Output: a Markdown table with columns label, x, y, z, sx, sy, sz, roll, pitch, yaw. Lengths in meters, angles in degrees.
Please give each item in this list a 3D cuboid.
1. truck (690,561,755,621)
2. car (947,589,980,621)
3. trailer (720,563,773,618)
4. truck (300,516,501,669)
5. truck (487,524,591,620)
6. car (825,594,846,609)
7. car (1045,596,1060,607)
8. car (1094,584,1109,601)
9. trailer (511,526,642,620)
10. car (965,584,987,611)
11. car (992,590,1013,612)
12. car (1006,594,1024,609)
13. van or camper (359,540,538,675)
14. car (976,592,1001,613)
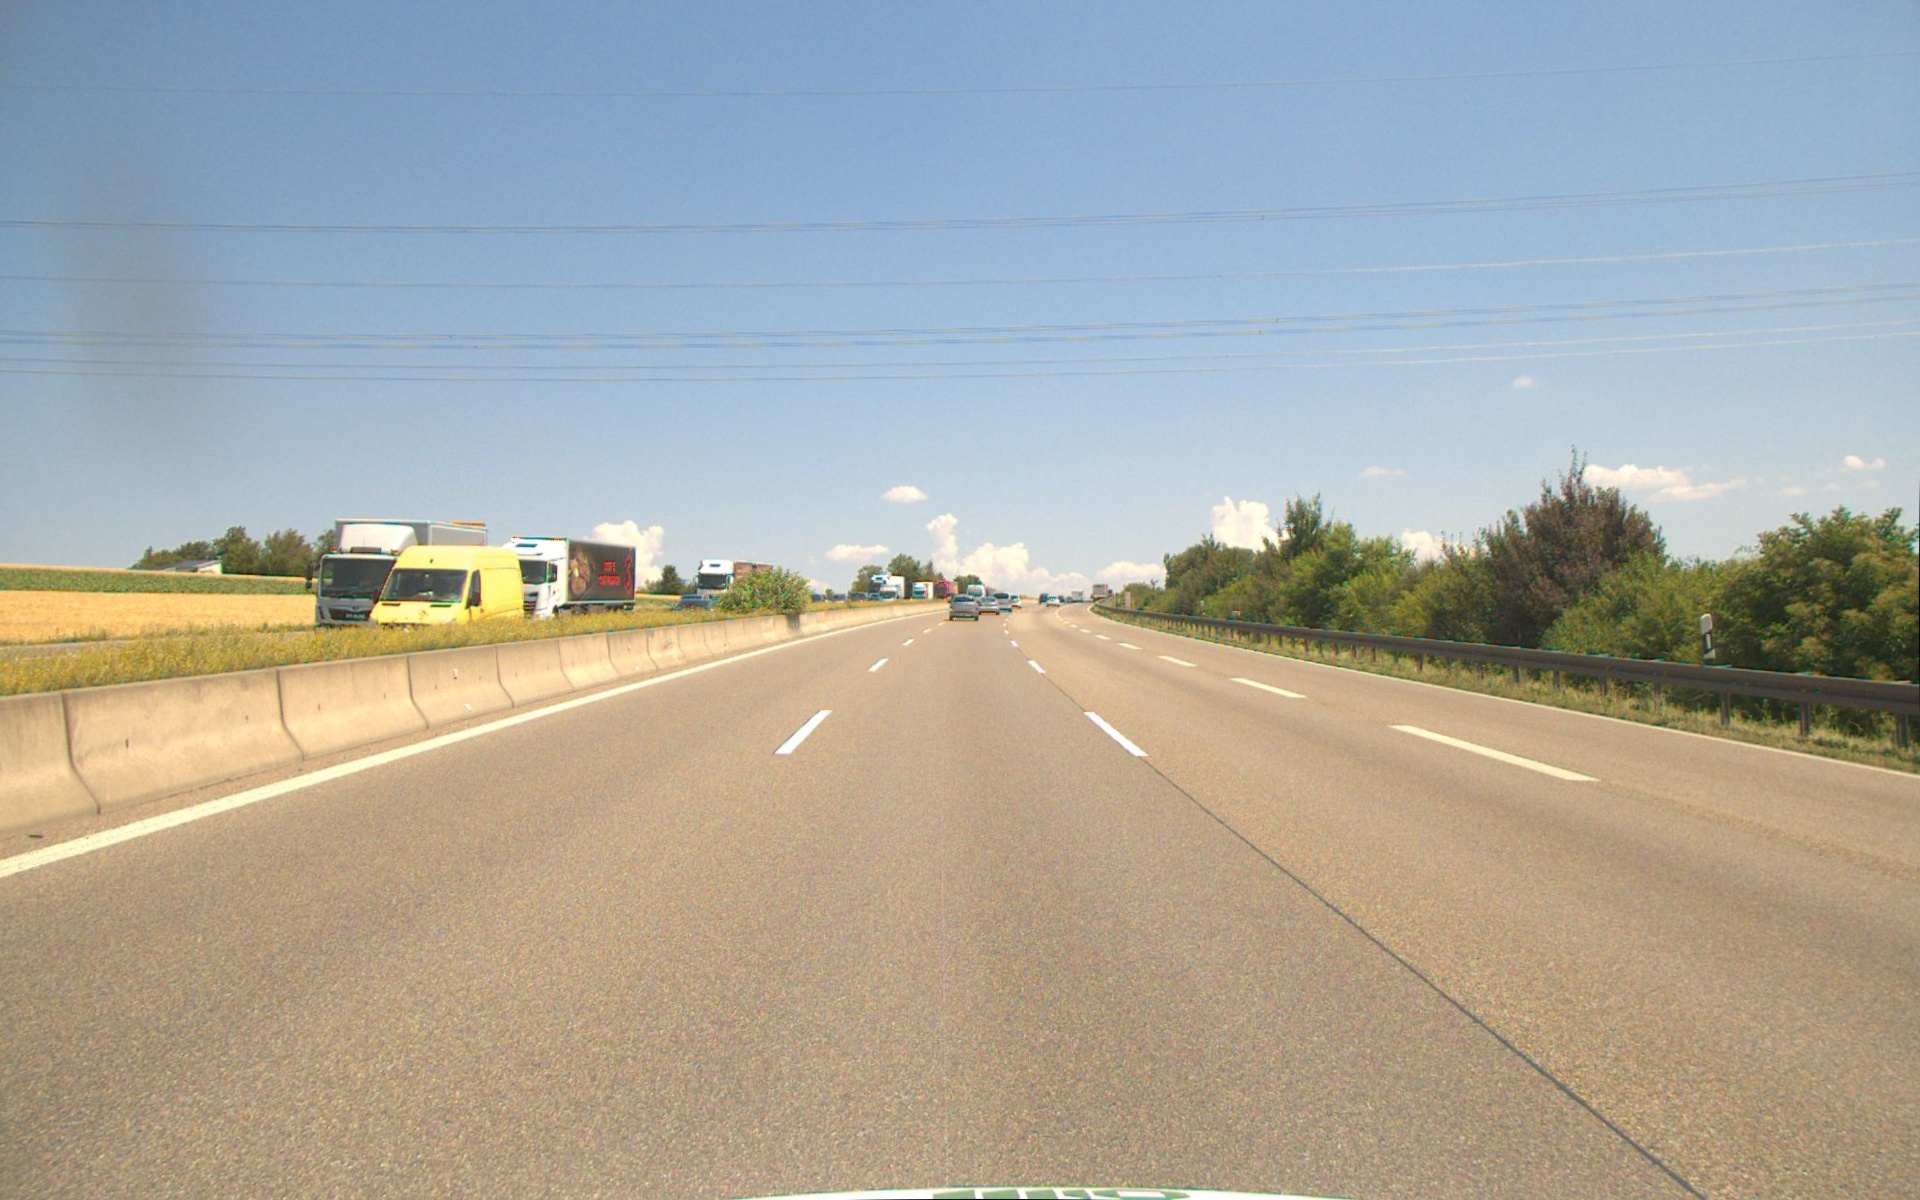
| label | x | y | z | sx | sy | sz | roll | pitch | yaw |
| --- | --- | --- | --- | --- | --- | --- | --- | --- | --- |
| truck | -17.558 | -0.678 | 122.985 | 2.827 | 4.244 | 10.625 | 1 | 0 | 2 |
| car | 0.188 | 0.321 | 103.416 | 1.953 | 1.781 | 3.998 | 1 | -3 | -1 |
| trailer | -17.114 | -0.759 | 133.231 | 2.718 | 4.256 | 9.180 | 1 | 0 | 2 |
| truck | -15.140 | -0.212 | 45.474 | 2.876 | 3.809 | 7.779 | 1 | 0 | 0 |
| truck | -18.857 | -1.197 | 74.548 | 2.793 | 4.098 | 6.516 | 1 | 0 | 2 |
| car | -14.198 | 0.167 | 188.314 | 1.952 | 1.646 | 4.001 | 0 | 0 | 2 |
| car | 12.414 | 0.180 | 220.927 | 1.862 | 1.467 | 4.002 | 1 | 0 | 5 |
| car | 19.109 | -0.999 | 222.894 | 1.951 | 2.341 | 6.267 | 0 | 0 | 5 |
| trailer | -18.612 | -1.200 | 81.409 | 2.735 | 4.177 | 14.010 | 1 | 0 | 2 |
| car | 1.748 | -0.220 | 176.857 | 2.134 | 2.671 | 4.673 | 1 | -3 | 3 |
| car | 4.077 | 0.076 | 157.593 | 1.952 | 1.937 | 4.000 | 0 | -2 | 1 |
| car | 6.446 | 0.184 | 194.036 | 1.952 | 1.579 | 4.001 | 2 | 1 | 2 |
| van or camper | -11.320 | 0.144 | 37.121 | 2.041 | 2.755 | 6.139 | 1 | 0 | 0 |
| car | 2.334 | 0.251 | 134.844 | 1.952 | 1.613 | 4.000 | 0 | -1 | 1 |
